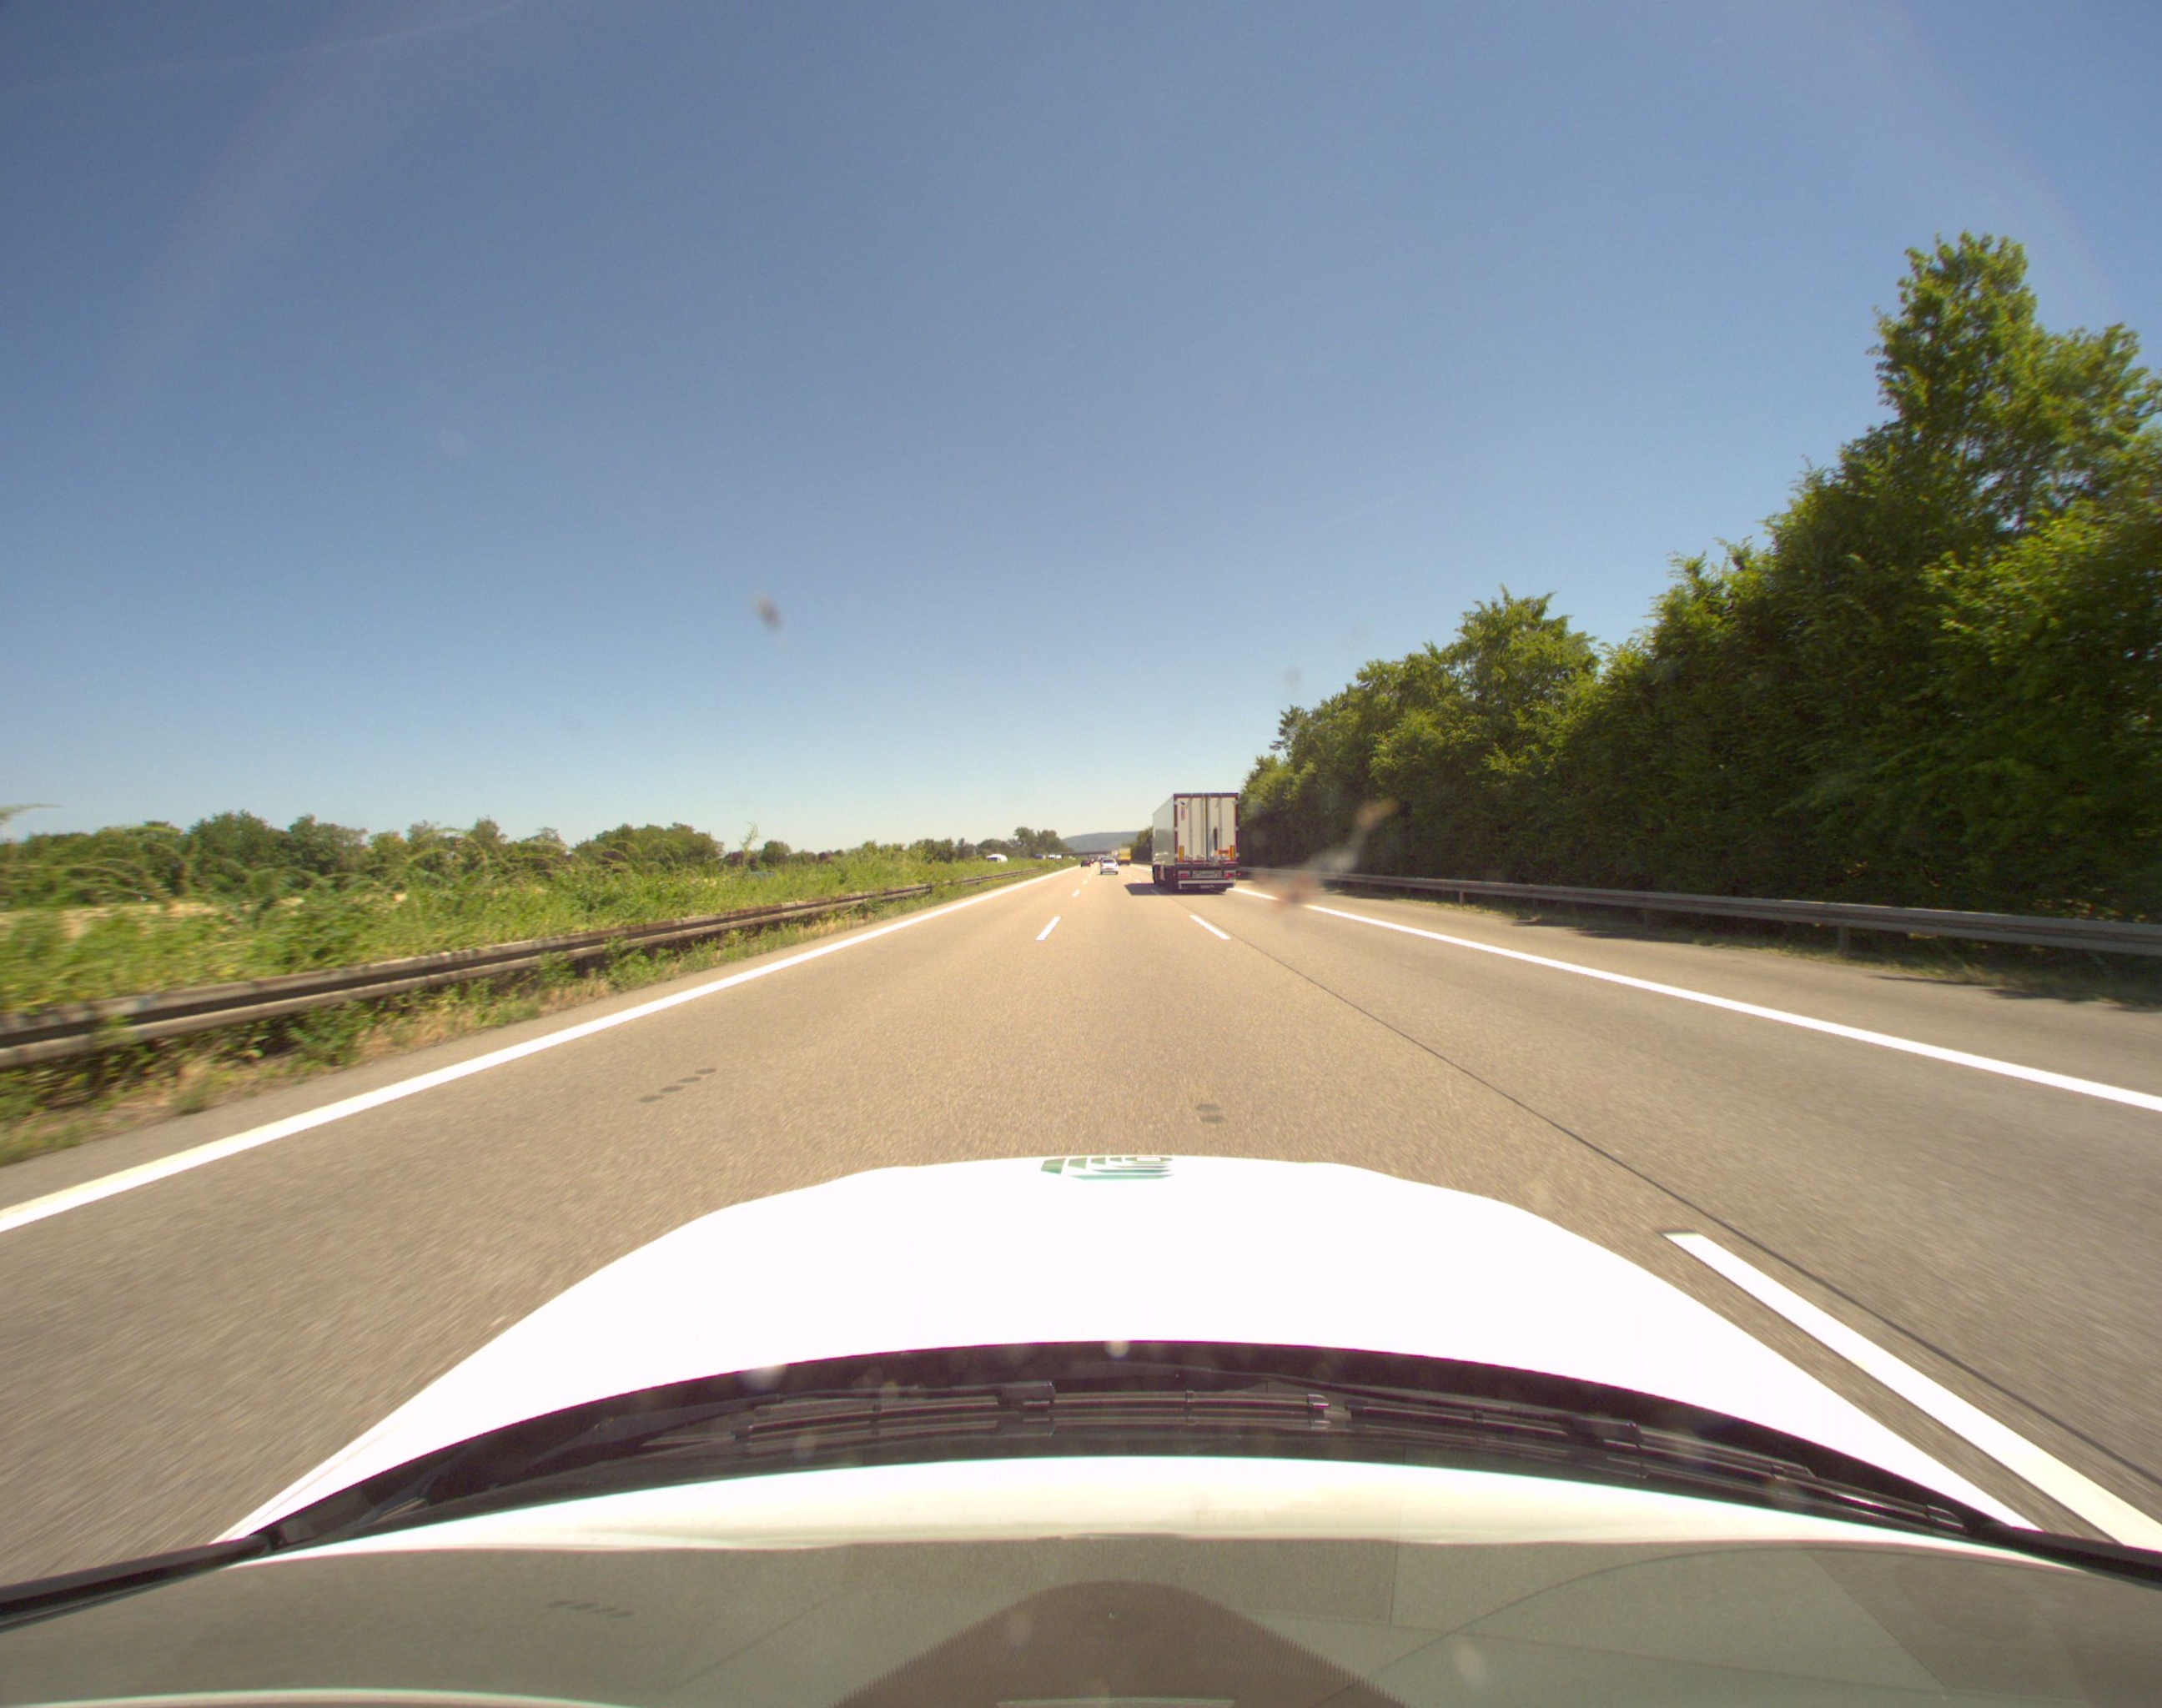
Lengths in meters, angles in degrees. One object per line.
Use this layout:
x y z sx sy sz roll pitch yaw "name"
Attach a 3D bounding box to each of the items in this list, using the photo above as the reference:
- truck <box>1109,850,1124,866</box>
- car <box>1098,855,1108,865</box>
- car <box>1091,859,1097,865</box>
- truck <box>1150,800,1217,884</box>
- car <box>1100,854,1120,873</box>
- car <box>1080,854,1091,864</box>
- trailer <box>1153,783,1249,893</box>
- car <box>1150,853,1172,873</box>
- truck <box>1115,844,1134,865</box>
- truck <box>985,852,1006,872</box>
10.302 1.152 237.244 4.255 4.652 13.865 -1 0 2 "truck"
3.849 1.112 142.506 1.780 1.712 4.001 0 0 1 "car"
3.739 2.341 233.347 1.788 1.551 4.002 -1 0 2 "car"
5.632 -0.625 45.760 3.205 4.345 6.594 0 0 2 "truck"
2.750 0.863 77.891 1.726 1.684 4.001 -2 0 1 "car"
0.908 0.920 150.398 1.986 1.712 4.001 0 0 1 "car"
5.326 -0.628 39.038 3.205 4.345 13.638 0 0 3 "trailer"
7.478 0.829 76.553 1.726 1.684 4.001 -2 0 1 "car"
9.488 0.108 177.691 3.857 4.345 13.866 0 0 2 "truck"
-15.953 1.468 152.452 3.216 3.516 5.435 -2 0 1 "truck"
